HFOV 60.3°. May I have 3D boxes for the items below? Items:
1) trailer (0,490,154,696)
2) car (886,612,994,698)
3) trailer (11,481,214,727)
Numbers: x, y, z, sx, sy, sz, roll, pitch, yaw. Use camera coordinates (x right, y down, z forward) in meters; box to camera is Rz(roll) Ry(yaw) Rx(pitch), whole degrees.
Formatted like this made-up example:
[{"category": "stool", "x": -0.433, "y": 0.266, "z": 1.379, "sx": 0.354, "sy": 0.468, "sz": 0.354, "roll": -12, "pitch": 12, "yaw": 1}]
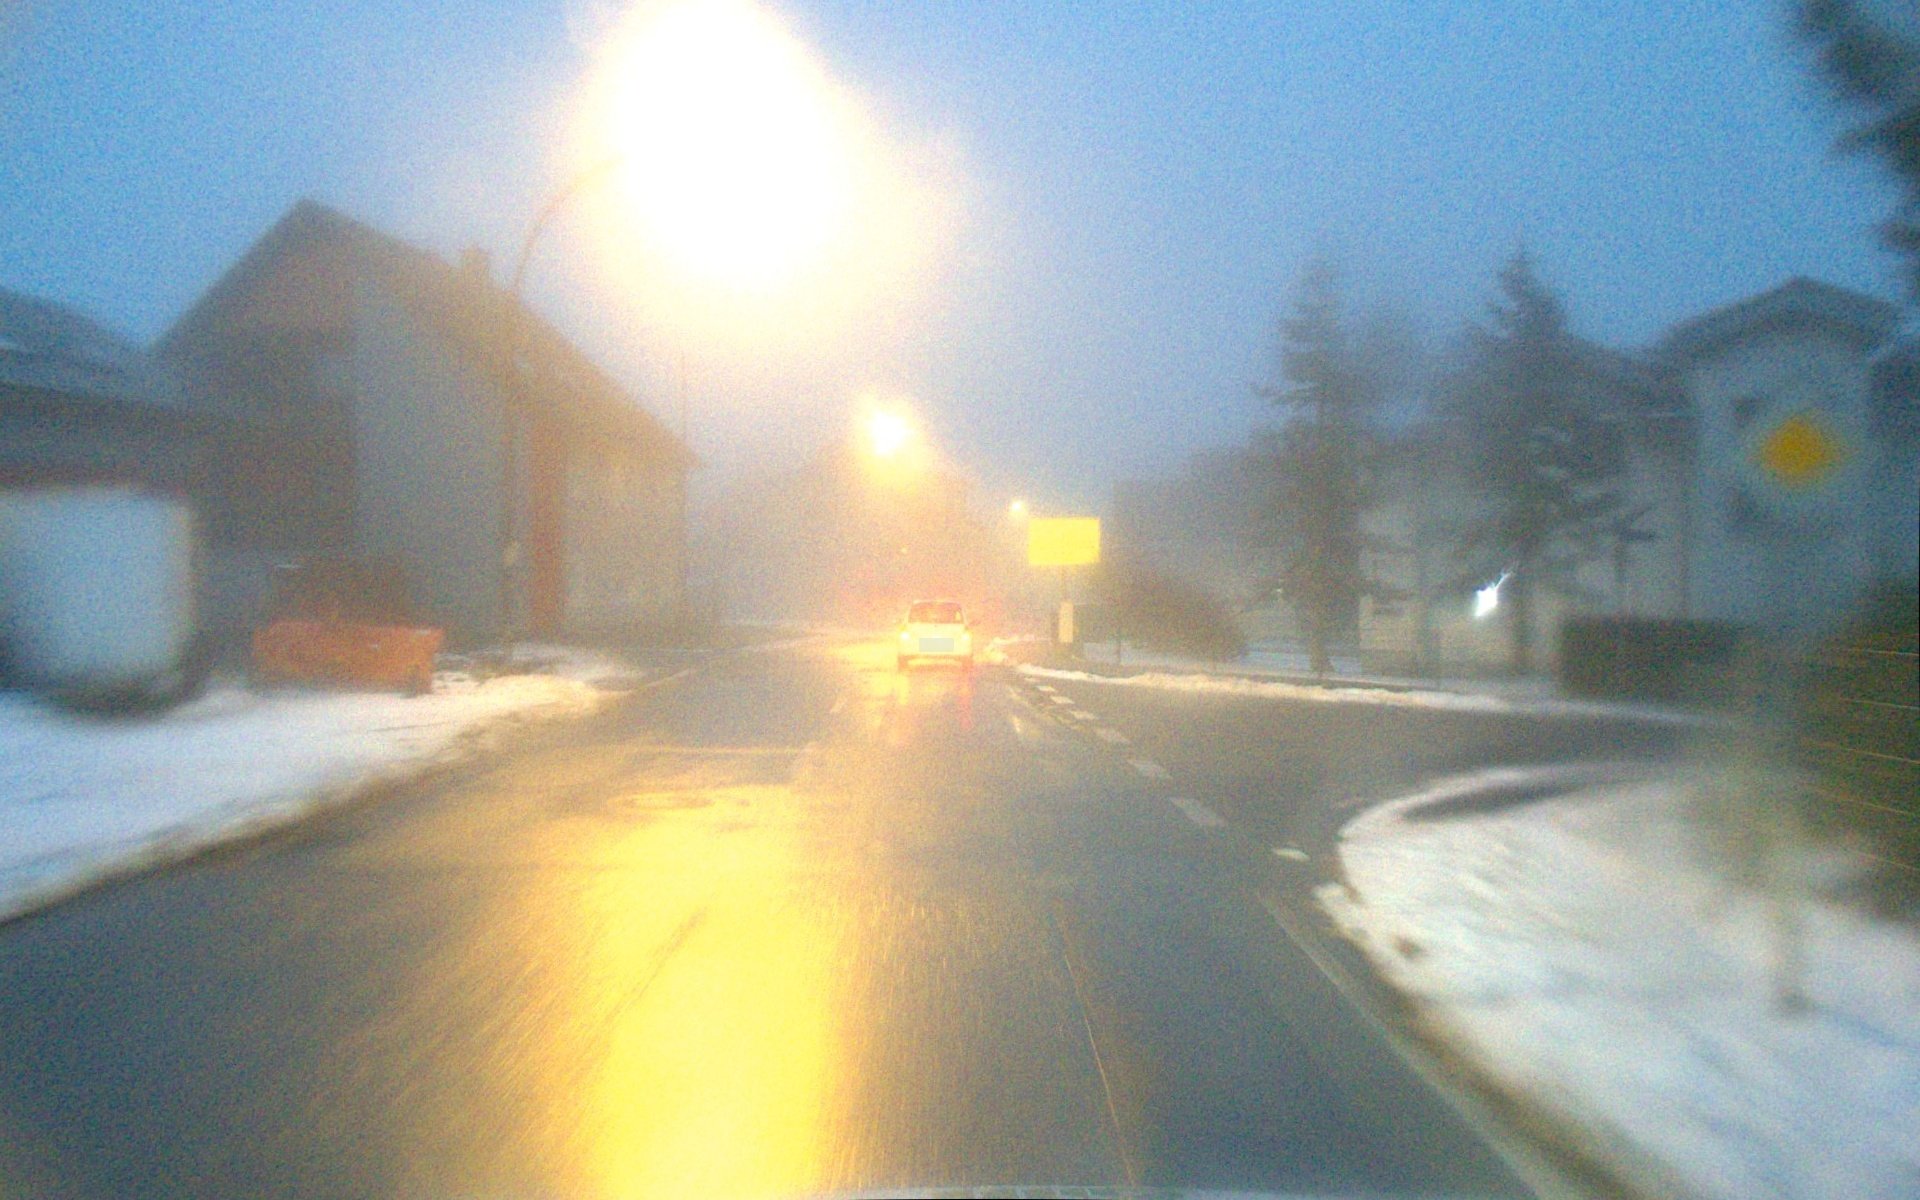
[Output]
[{"category": "trailer", "x": -12.655, "y": -0.077, "z": 21.511, "sx": 1.951, "sy": 2.532, "sz": 4.014, "roll": -2, "pitch": 1, "yaw": 7}, {"category": "car", "x": -0.363, "y": 1.121, "z": 35.344, "sx": 1.952, "sy": 1.534, "sz": 4.002, "roll": -2, "pitch": 1, "yaw": 4}, {"category": "trailer", "x": -10.102, "y": 0.011, "z": 19.942, "sx": 1.665, "sy": 2.650, "sz": 3.424, "roll": -2, "pitch": 1, "yaw": -20}]
